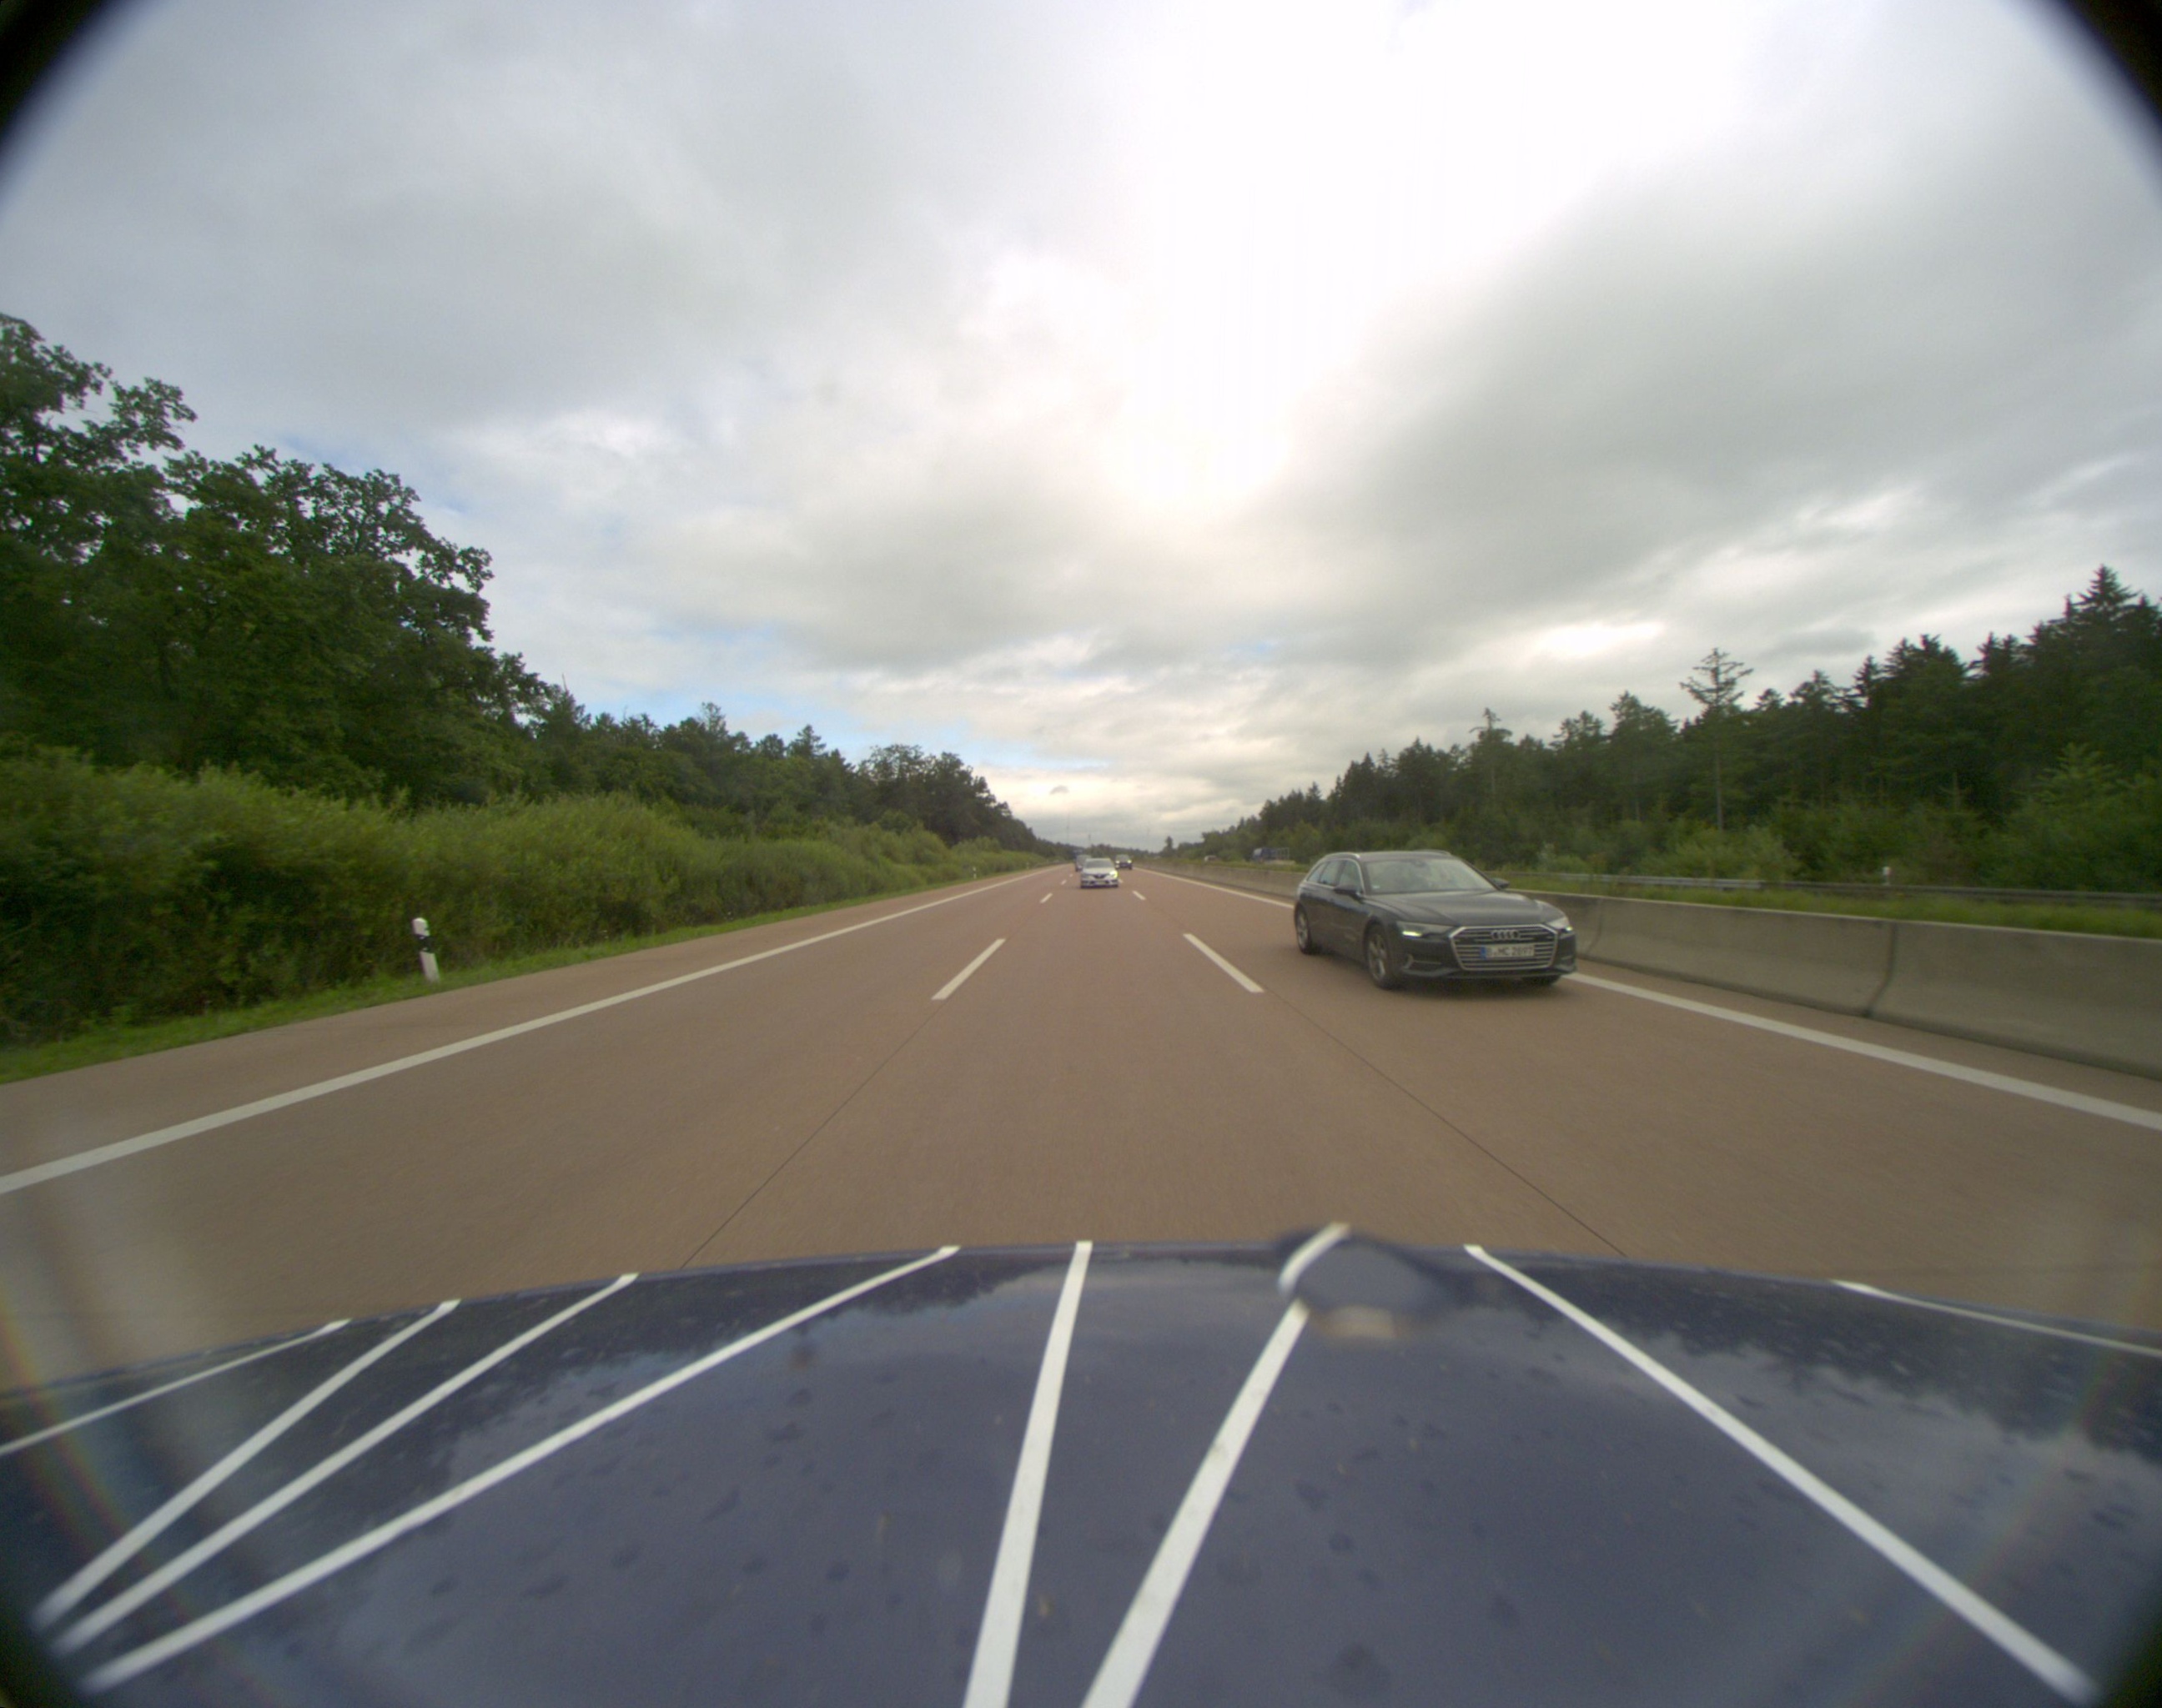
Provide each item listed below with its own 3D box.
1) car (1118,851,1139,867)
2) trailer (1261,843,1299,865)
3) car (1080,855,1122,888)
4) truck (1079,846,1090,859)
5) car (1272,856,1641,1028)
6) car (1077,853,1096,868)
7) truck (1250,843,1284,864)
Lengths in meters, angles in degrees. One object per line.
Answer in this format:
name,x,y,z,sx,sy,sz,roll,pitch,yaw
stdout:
car,5.213,0.517,84.142,1.998,1.689,5.252,-2,0,1
trailer,20.685,-0.018,79.155,2.337,2.149,6.189,-2,0,1
car,1.048,0.835,37.602,1.923,1.515,4.001,-2,0,3
truck,1.063,-0.463,230.658,2.956,3.705,7.950,-5,0,1
car,4.123,0.816,9.683,2.064,1.483,5.453,-2,0,1
car,0.633,0.685,82.410,1.986,1.499,4.052,-2,0,1
truck,20.800,-0.061,85.299,2.352,2.149,6.043,-2,0,1
